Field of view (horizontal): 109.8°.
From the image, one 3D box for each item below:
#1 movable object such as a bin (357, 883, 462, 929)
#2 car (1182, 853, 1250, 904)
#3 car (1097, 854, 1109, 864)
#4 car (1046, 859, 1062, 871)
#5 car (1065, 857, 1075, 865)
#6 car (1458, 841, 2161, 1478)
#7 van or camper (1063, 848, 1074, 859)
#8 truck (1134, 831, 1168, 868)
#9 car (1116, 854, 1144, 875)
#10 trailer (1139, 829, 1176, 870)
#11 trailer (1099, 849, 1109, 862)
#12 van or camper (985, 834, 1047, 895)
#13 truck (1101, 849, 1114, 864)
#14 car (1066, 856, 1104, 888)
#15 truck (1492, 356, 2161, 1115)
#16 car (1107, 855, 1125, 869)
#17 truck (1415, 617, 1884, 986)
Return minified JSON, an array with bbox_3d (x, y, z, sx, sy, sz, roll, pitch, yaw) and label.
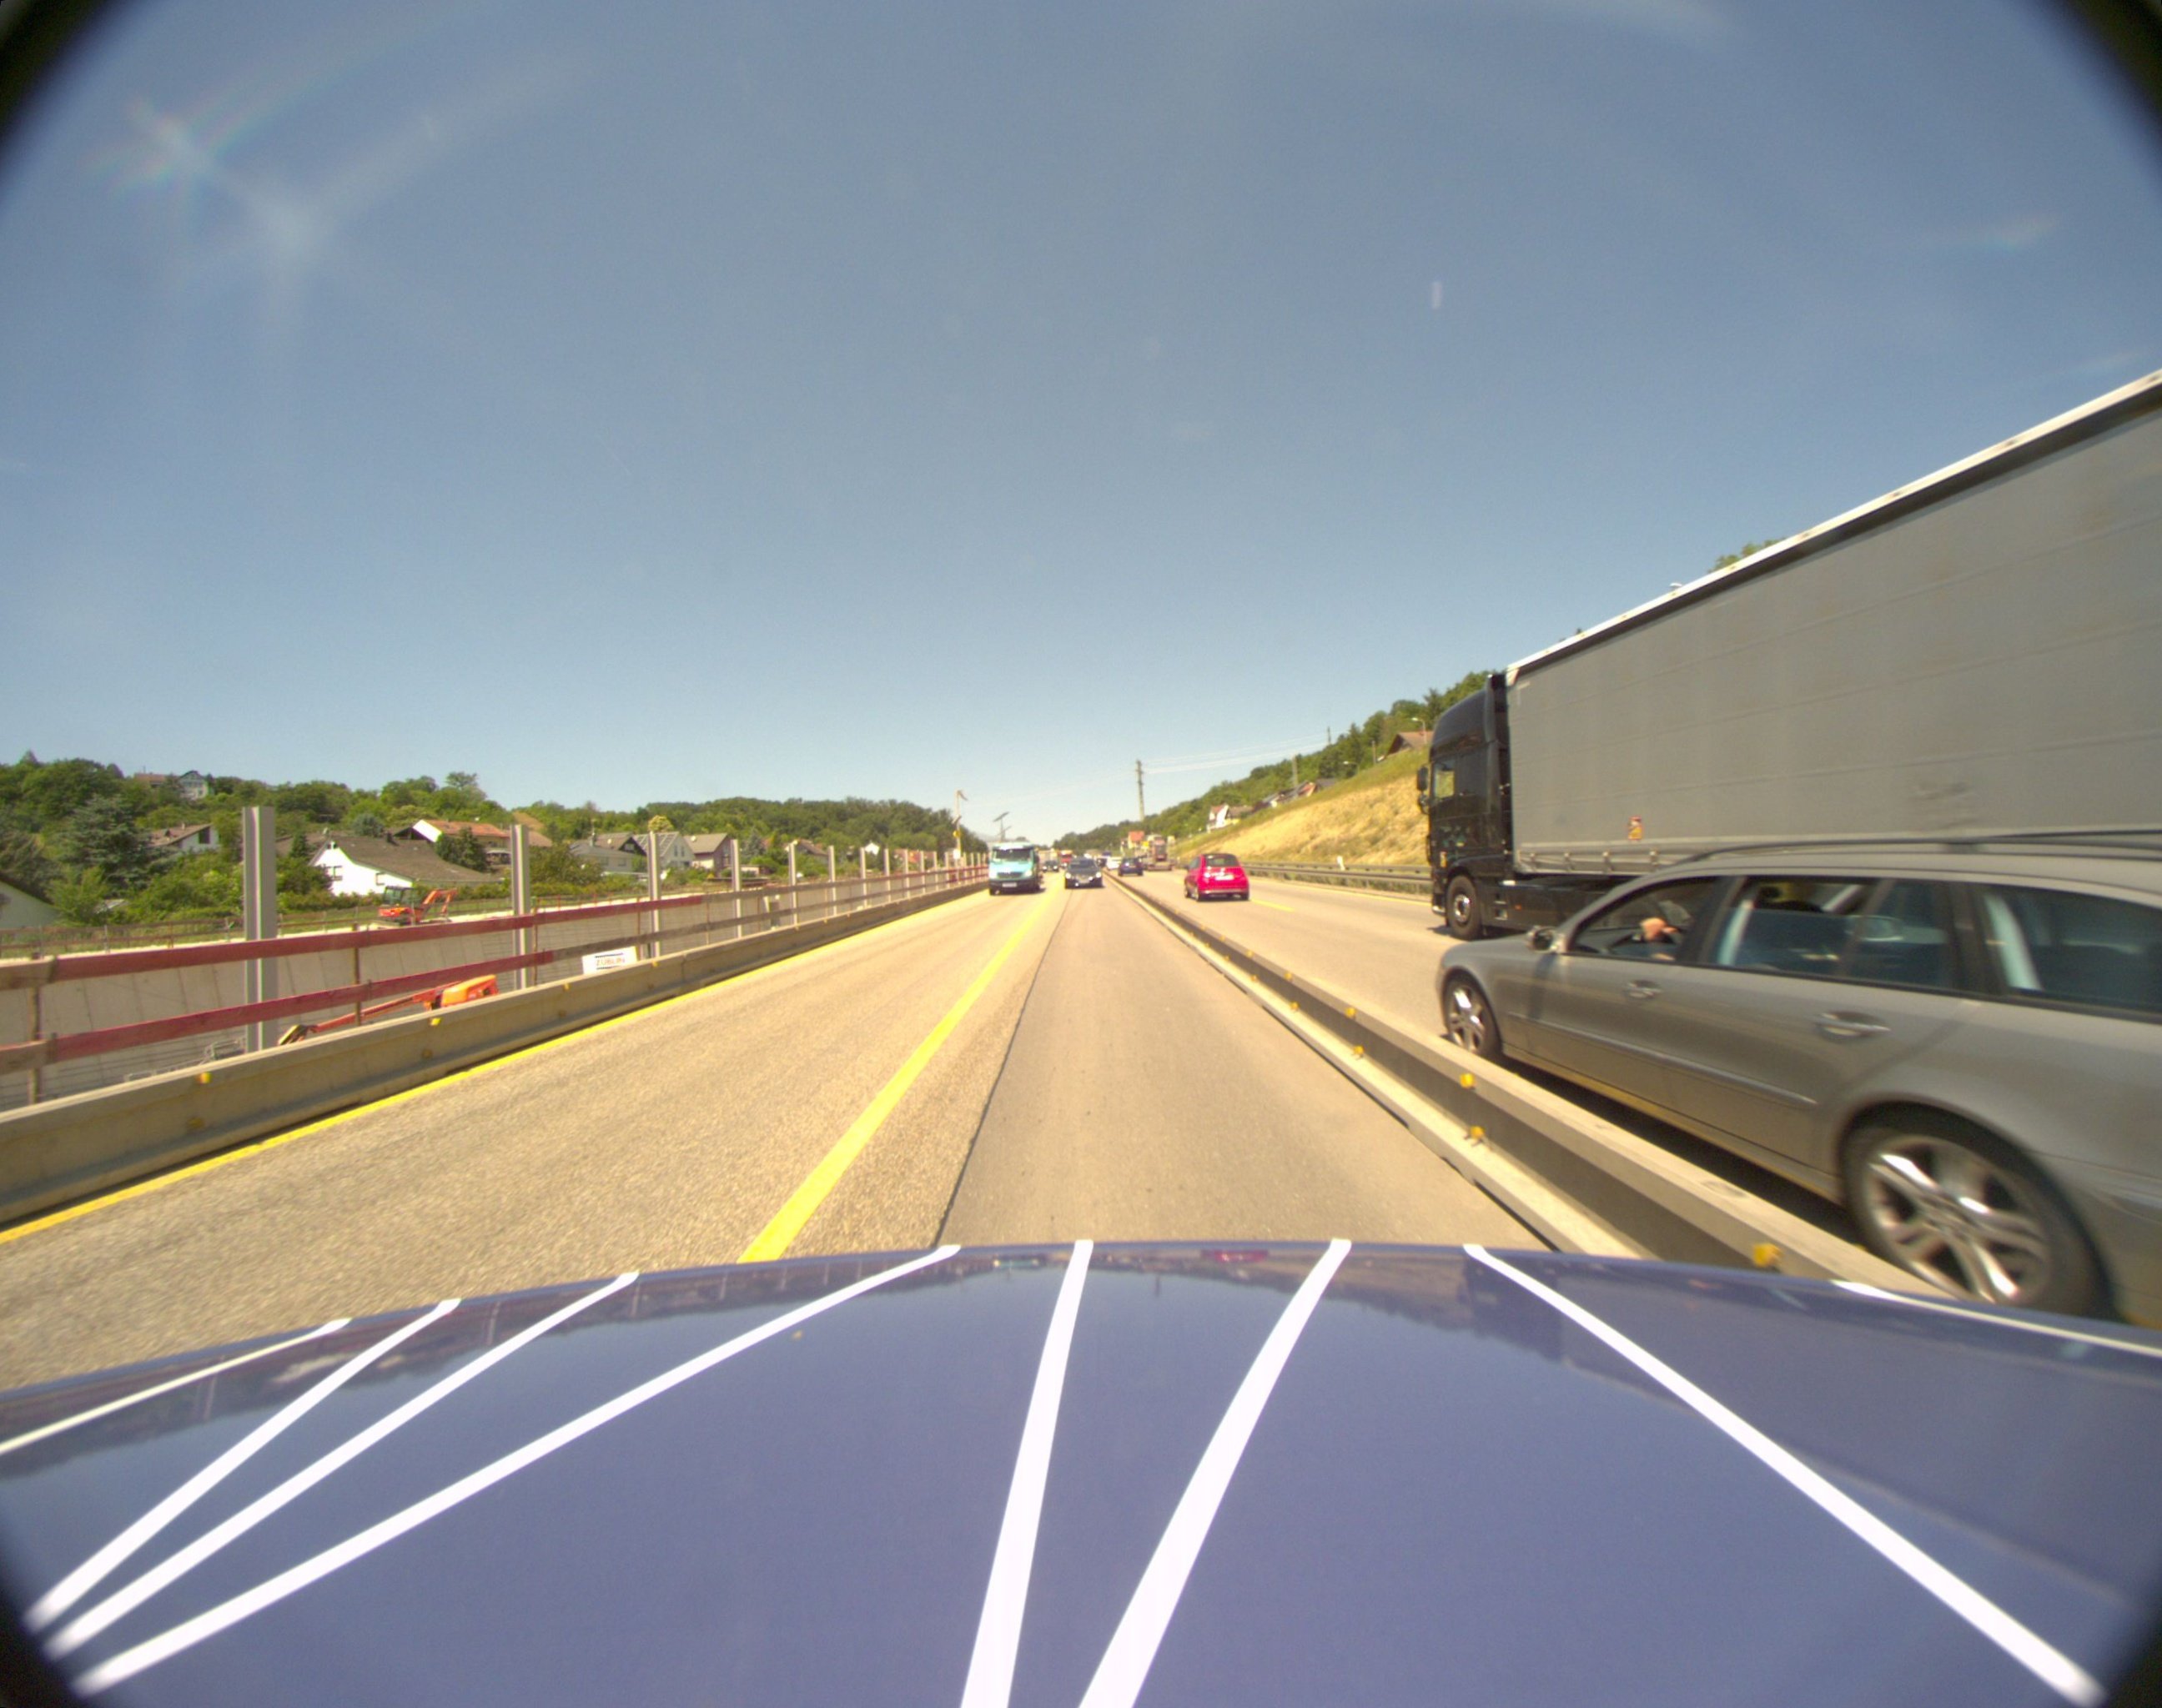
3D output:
[{"bbox_3d":[-37.324,2.849,42.399,1.998,2.226,4.152,-2,0,1],"label":"movable object such as a bin"},{"bbox_3d":[4.282,0.744,24.579,1.594,1.478,3.295,-2,0,0],"label":"car"},{"bbox_3d":[3.909,0.833,136.049,1.895,1.698,4.561,-1,0,1],"label":"car"},{"bbox_3d":[-3.048,1.283,85.573,1.611,1.324,3.496,0,-1,0],"label":"car"},{"bbox_3d":[-2.356,1.460,158.089,1.895,1.698,4.561,-1,0,1],"label":"car"},{"bbox_3d":[3.461,0.714,3.009,1.831,1.478,4.196,-2,0,0],"label":"car"},{"bbox_3d":[-3.002,-0.135,183.783,2.321,2.513,4.528,-4,-1,0],"label":"van or camper"},{"bbox_3d":[7.358,-0.430,80.952,2.593,3.701,9.332,-2,0,0],"label":"truck"},{"bbox_3d":[3.591,0.734,55.961,1.689,1.421,3.849,-2,0,-1],"label":"car"},{"bbox_3d":[7.341,-0.401,73.652,2.593,3.616,9.078,-2,0,0],"label":"trailer"},{"bbox_3d":[8.037,0.658,269.460,2.818,4.261,14.035,-2,0,0],"label":"trailer"},{"bbox_3d":[-2.862,0.486,35.426,2.098,2.458,7.672,-2,-1,0],"label":"van or camper"},{"bbox_3d":[7.728,0.657,221.857,3.251,4.135,13.978,-2,0,0],"label":"truck"},{"bbox_3d":[0.187,0.880,37.768,1.747,1.420,4.000,-2,-1,0],"label":"car"},{"bbox_3d":[7.192,-0.663,3.739,2.774,4.064,13.805,-2,0,0],"label":"truck"},{"bbox_3d":[3.792,0.847,83.798,1.689,1.421,4.122,-2,0,-1],"label":"car"},{"bbox_3d":[7.228,-0.565,10.674,2.774,3.862,4.964,-2,0,0],"label":"truck"}]
